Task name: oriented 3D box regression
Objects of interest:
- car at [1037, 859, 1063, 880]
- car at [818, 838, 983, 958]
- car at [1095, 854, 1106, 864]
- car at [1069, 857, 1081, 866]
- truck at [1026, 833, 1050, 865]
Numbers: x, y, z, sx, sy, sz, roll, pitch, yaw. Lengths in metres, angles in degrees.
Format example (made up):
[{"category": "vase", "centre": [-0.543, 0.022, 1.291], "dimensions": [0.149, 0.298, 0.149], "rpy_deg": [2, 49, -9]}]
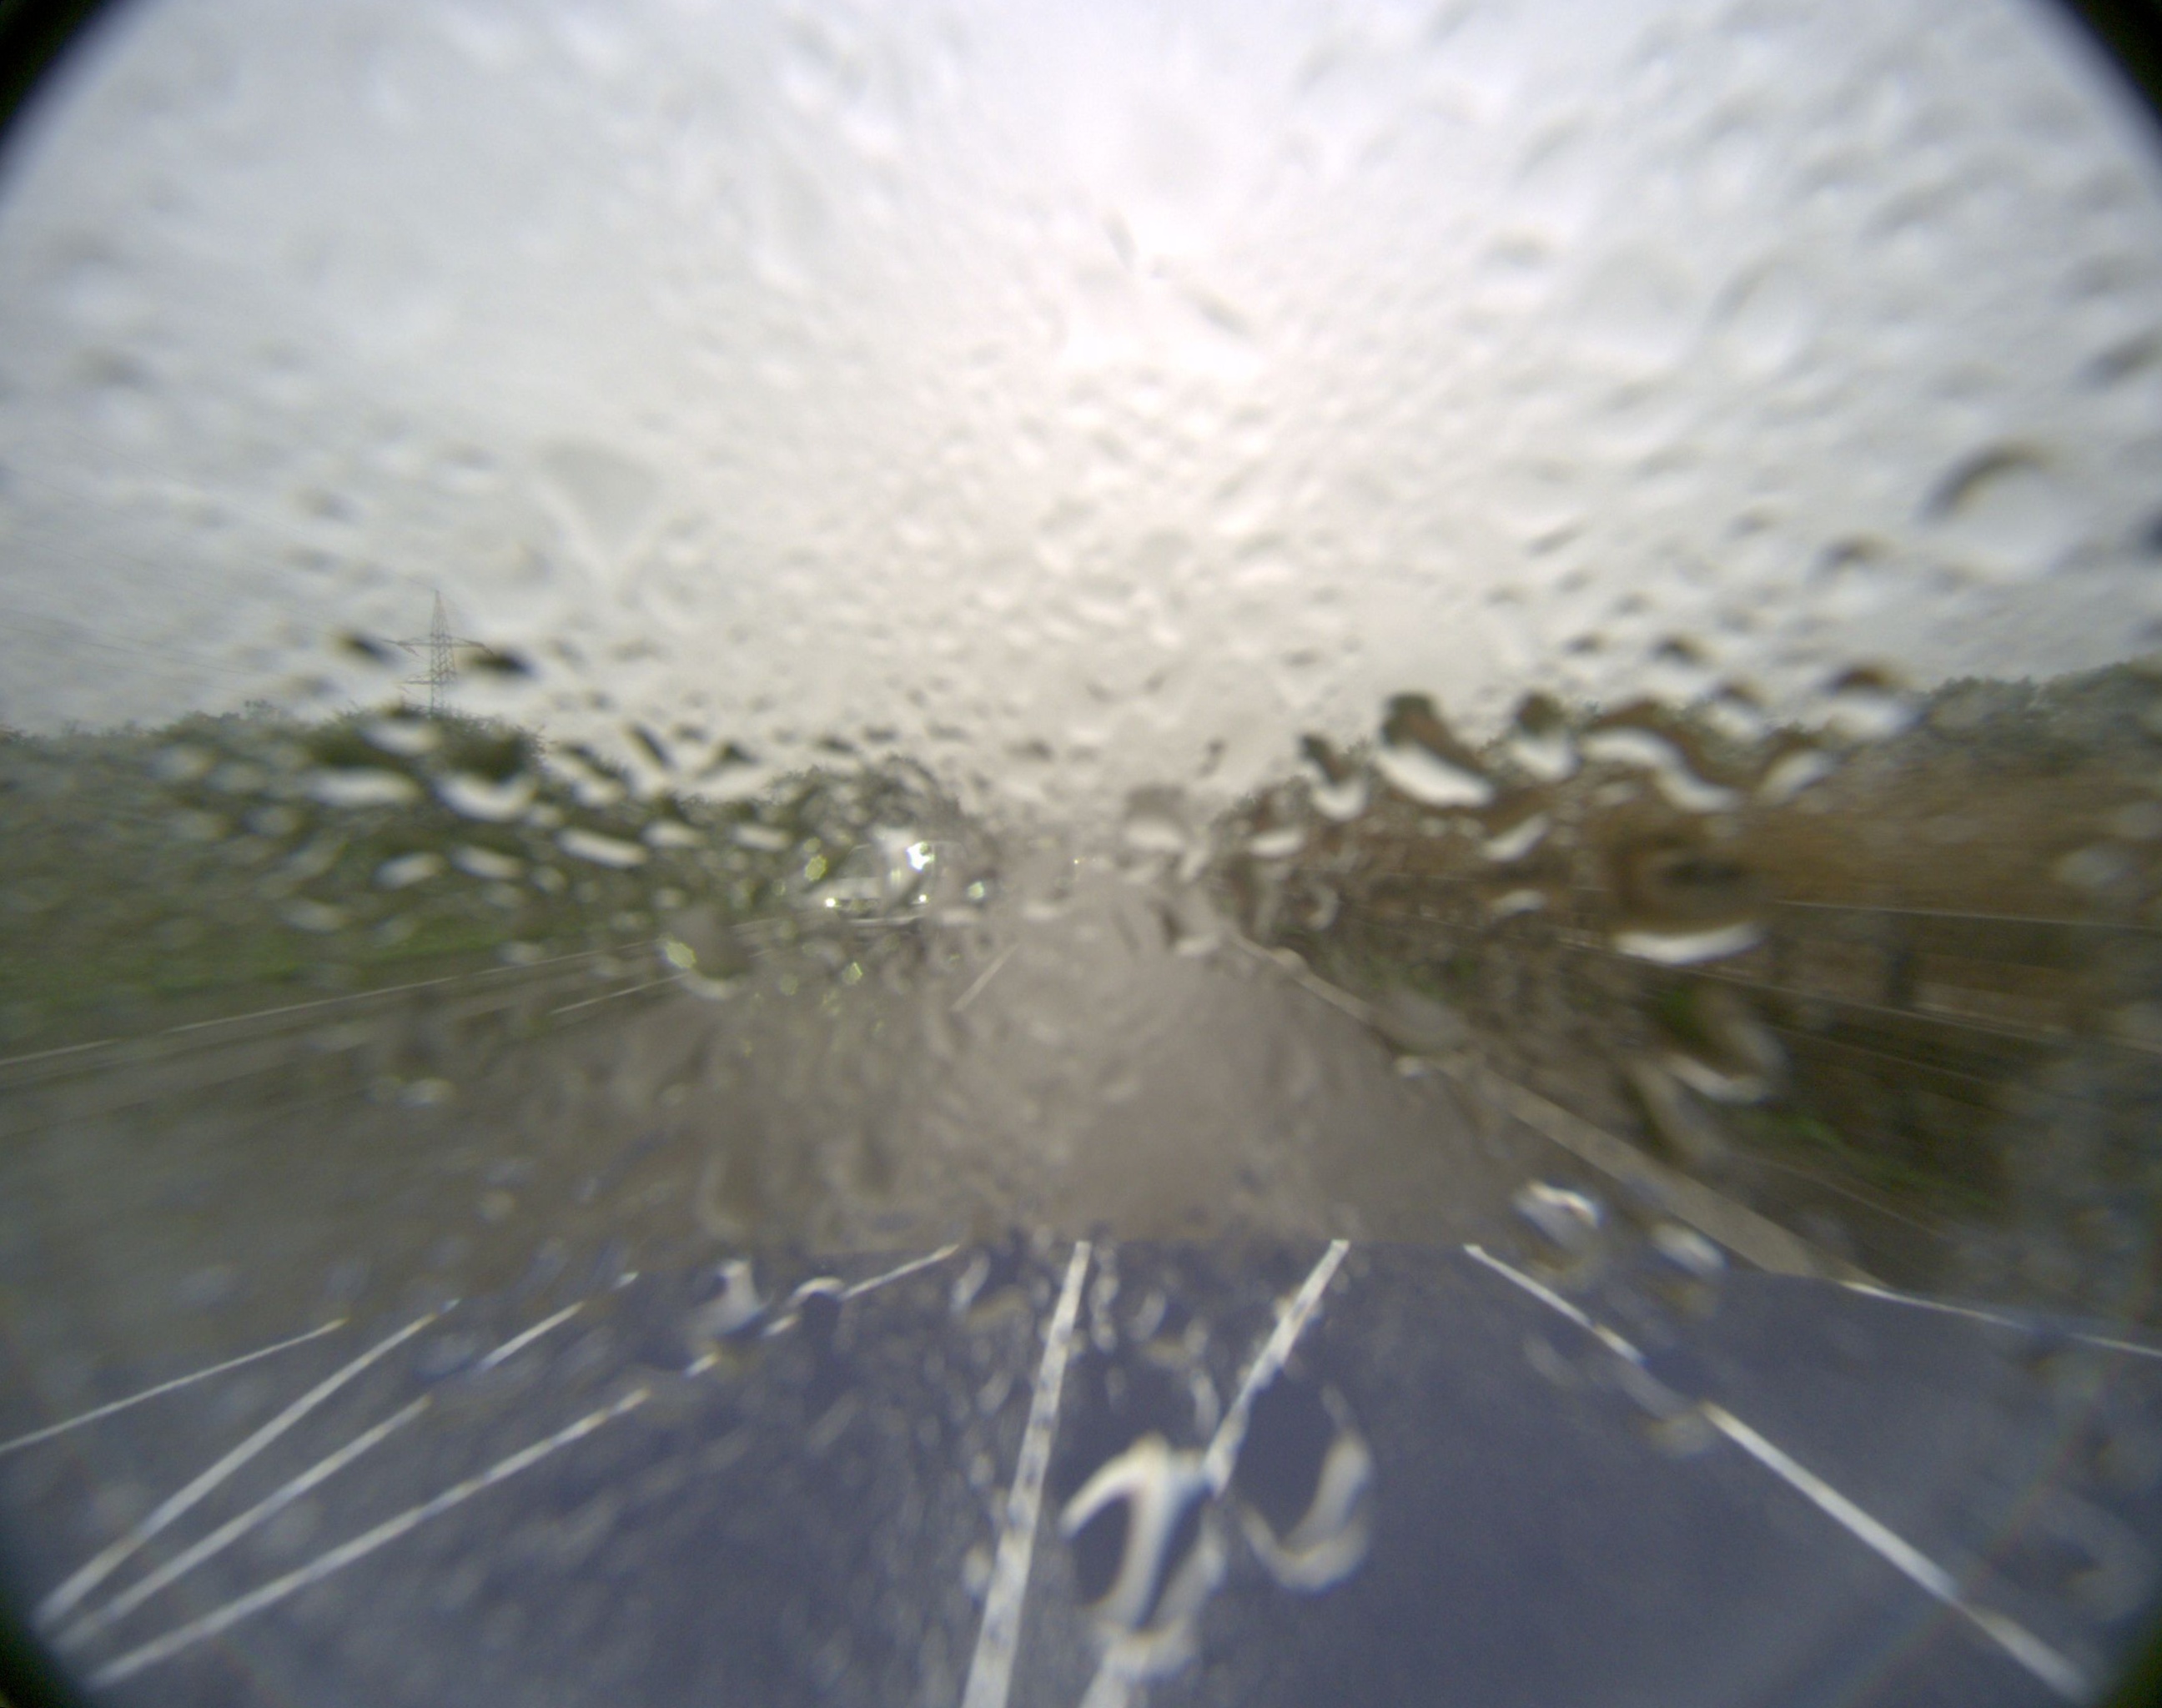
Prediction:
[{"category": "car", "centre": [-2.469, 1.219, 61.062], "dimensions": [1.769, 1.448, 3.959], "rpy_deg": [-3, 0, 2]}, {"category": "car", "centre": [-3.266, 0.715, 14.905], "dimensions": [1.892, 1.873, 5.009], "rpy_deg": [-3, 0, 1]}, {"category": "car", "centre": [3.089, 0.800, 120.170], "dimensions": [1.769, 1.448, 3.959], "rpy_deg": [-3, 0, 2]}, {"category": "car", "centre": [-1.054, 1.220, 125.774], "dimensions": [1.769, 1.448, 3.959], "rpy_deg": [-3, 0, 2]}, {"category": "truck", "centre": [-5.901, -0.652, 104.050], "dimensions": [2.618, 4.064, 5.238], "rpy_deg": [-3, 0, 2]}]
